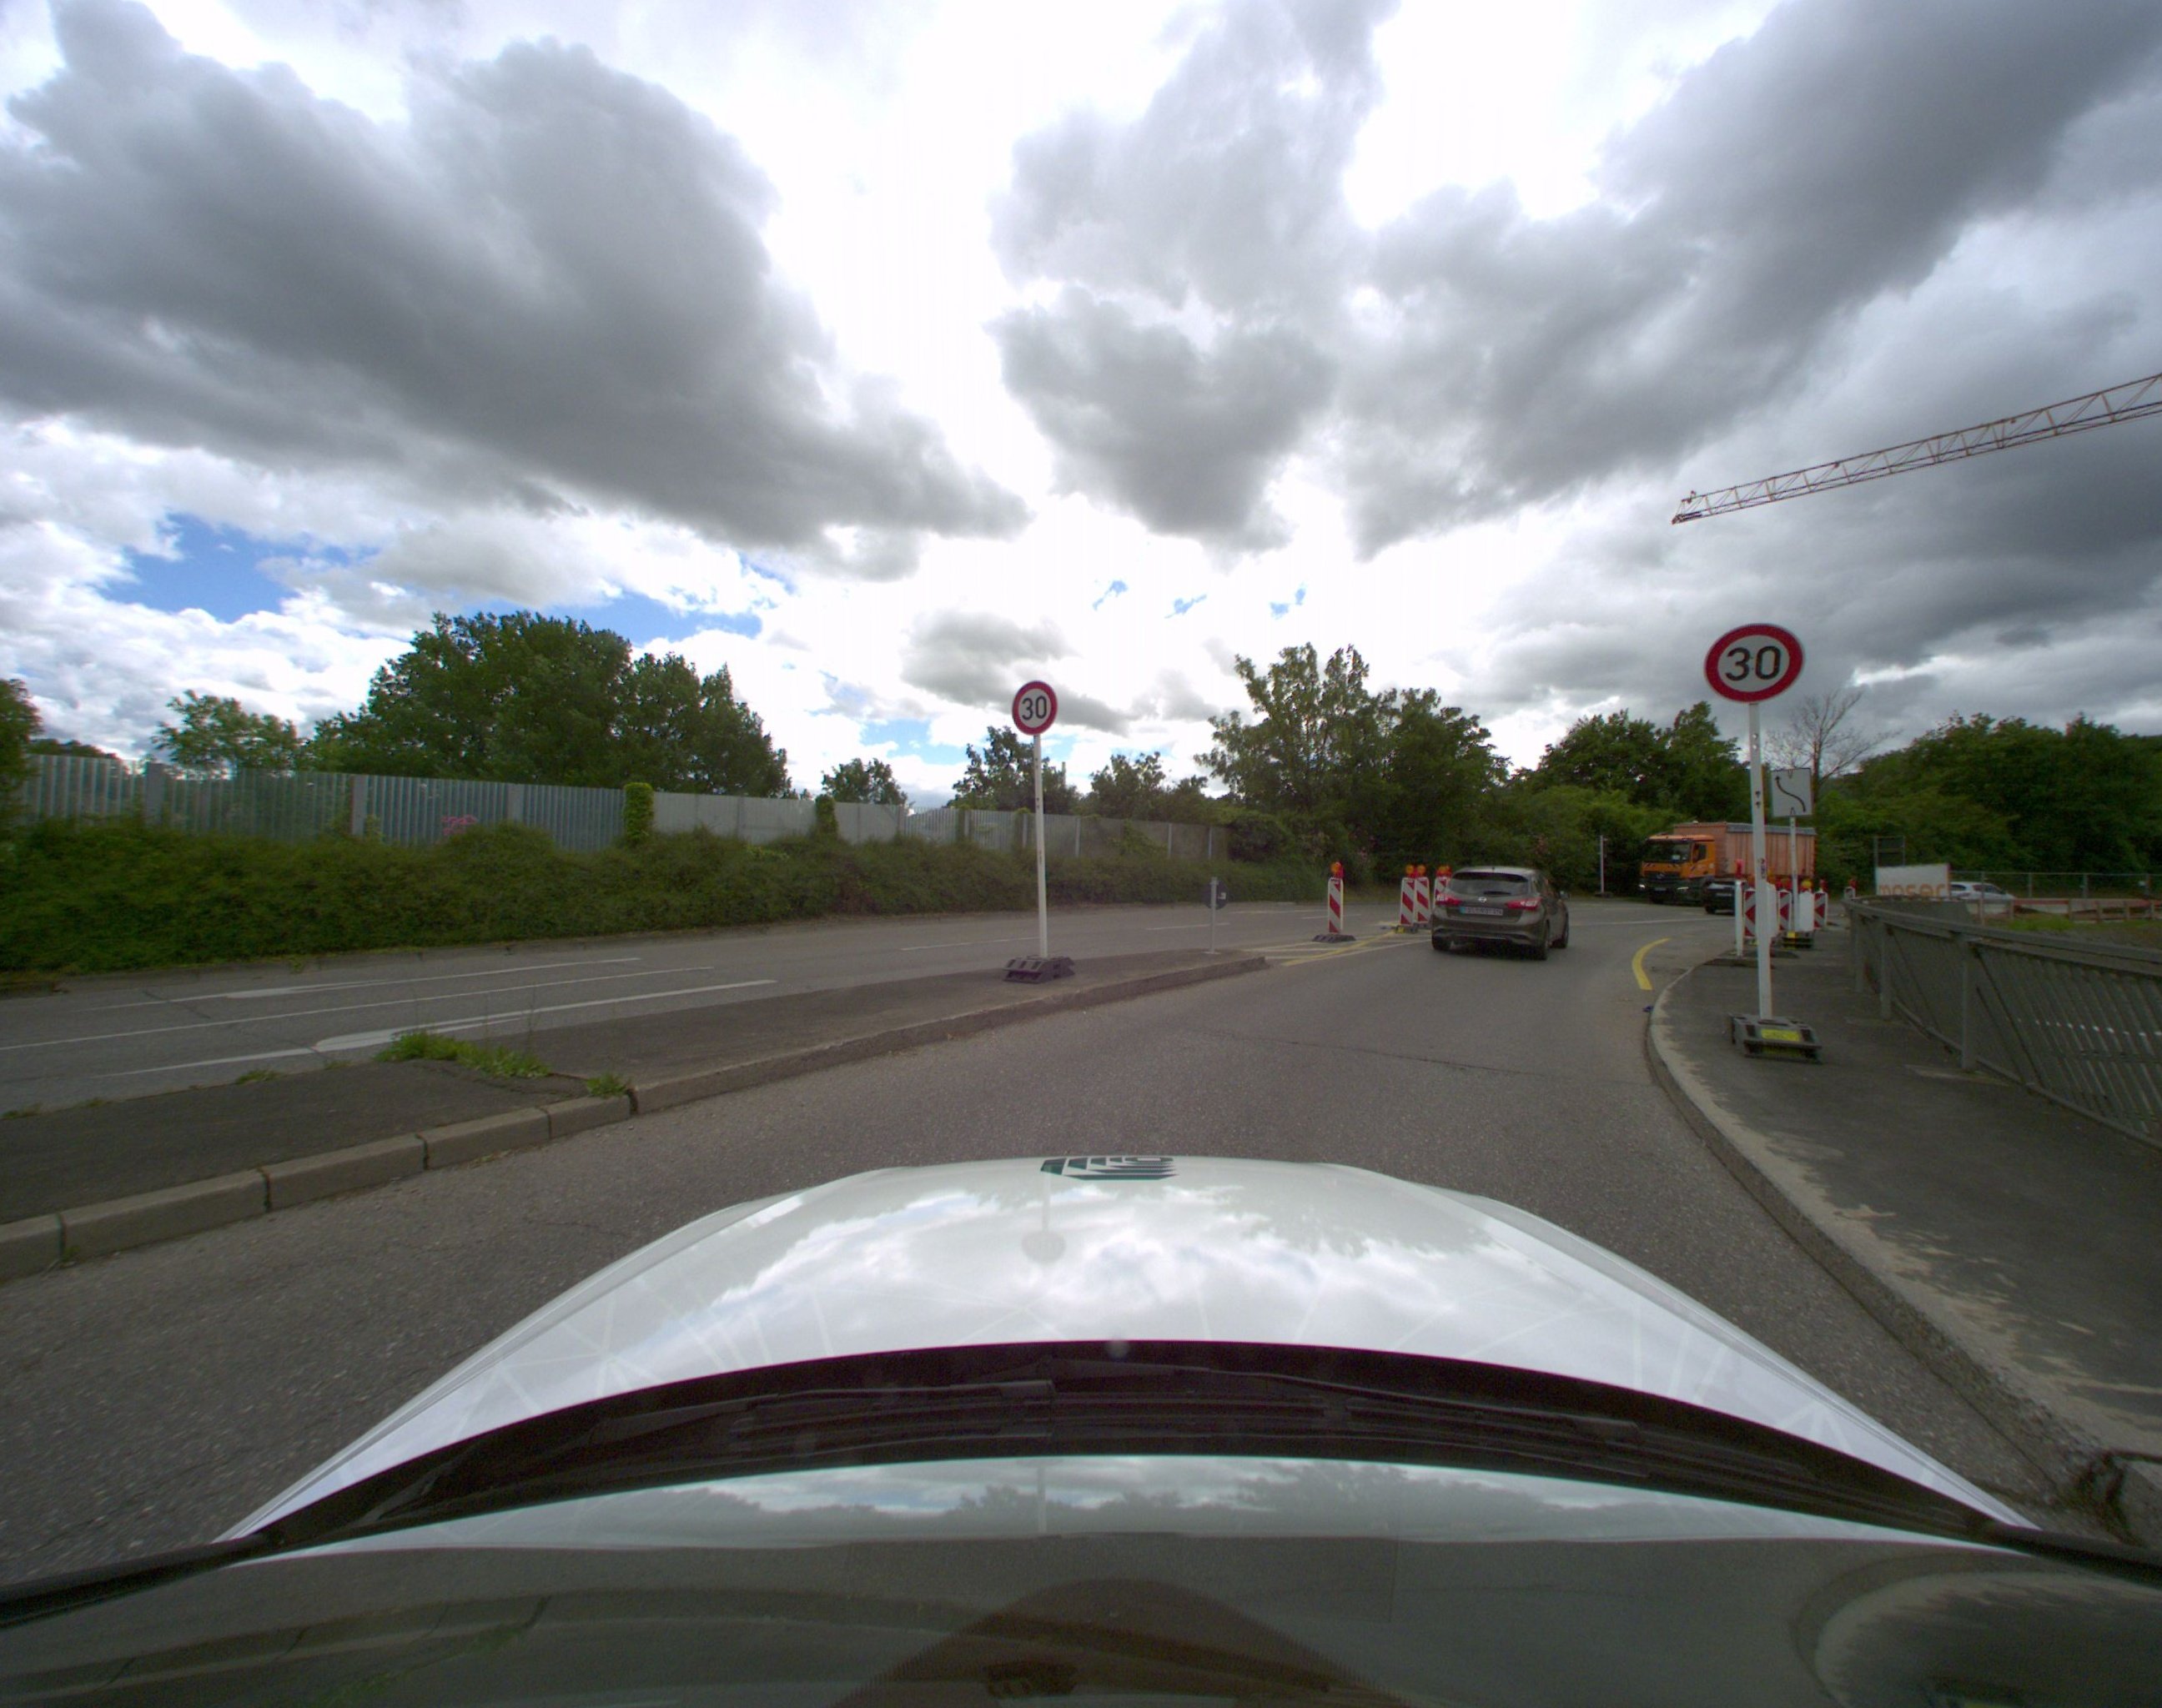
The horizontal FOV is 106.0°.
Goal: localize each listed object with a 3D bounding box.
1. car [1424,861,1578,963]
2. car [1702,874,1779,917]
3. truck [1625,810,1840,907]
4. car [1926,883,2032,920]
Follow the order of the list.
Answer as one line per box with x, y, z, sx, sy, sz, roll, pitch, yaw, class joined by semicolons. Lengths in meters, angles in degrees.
7.693;0.928;14.728;1.780;1.552;4.025;0;-1;38;car
26.289;1.598;32.416;3.809;1.552;1.804;1;0;-42;car
30.778;0.298;38.451;9.786;4.221;3.102;1;-1;-18;truck
42.748;2.251;38.782;3.992;1.675;1.709;2;-2;-14;car
